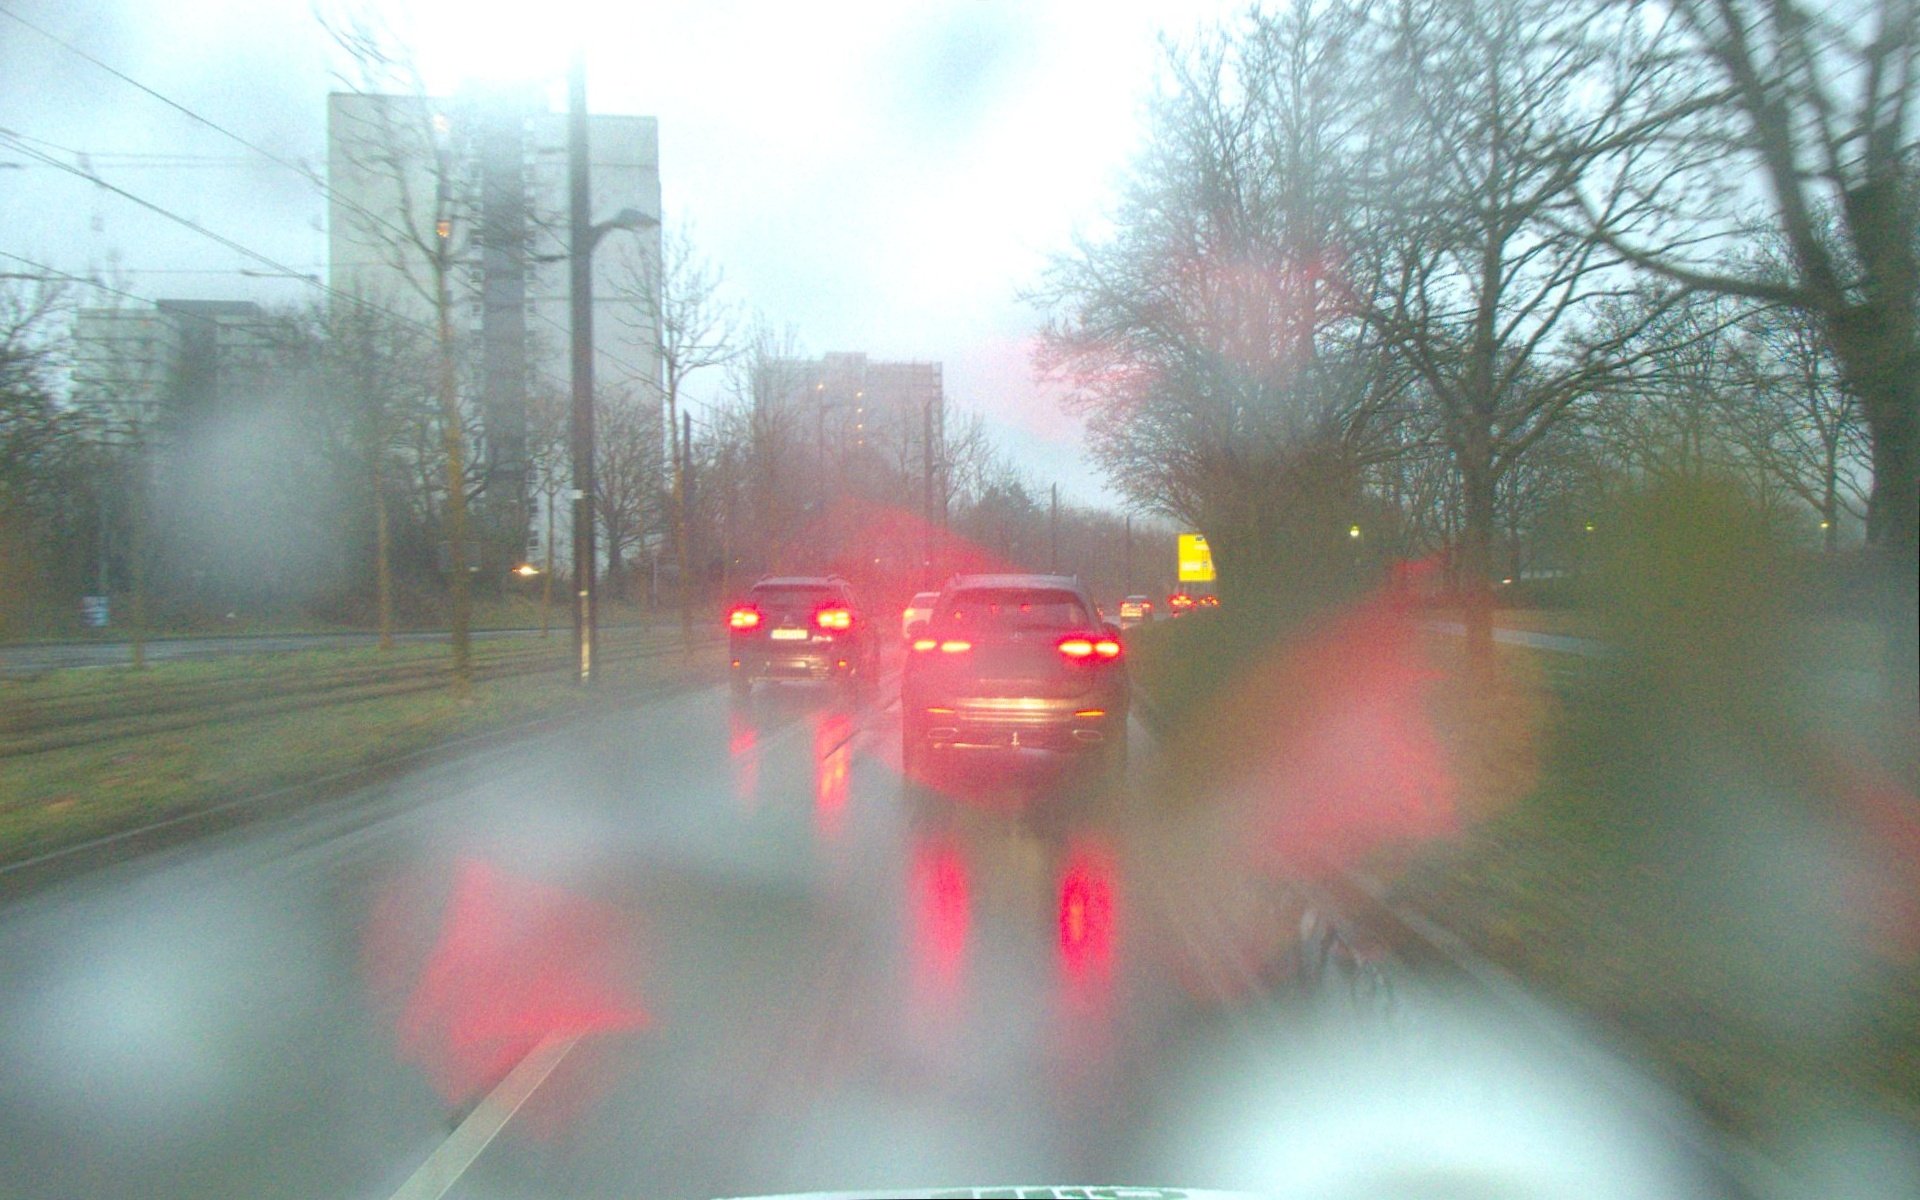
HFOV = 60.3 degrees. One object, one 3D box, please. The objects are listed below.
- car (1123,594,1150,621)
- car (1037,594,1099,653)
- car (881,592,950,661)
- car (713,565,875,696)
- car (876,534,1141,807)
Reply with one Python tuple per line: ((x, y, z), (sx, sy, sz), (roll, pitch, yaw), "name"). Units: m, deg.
((10.542, 0.437, 99.023), (1.502, 1.540, 3.344), (0, -1, 5), "car")
((3.625, 0.810, 56.029), (1.818, 1.925, 3.999), (1, -1, 0), "car")
((-1.191, 0.689, 45.343), (1.790, 1.769, 3.805), (1, 0, -1), "car")
((-2.354, 0.453, 24.504), (1.953, 1.742, 4.324), (1, -1, 0), "car")
((0.375, 0.563, 14.317), (1.952, 2.010, 4.068), (1, -1, 0), "car")
